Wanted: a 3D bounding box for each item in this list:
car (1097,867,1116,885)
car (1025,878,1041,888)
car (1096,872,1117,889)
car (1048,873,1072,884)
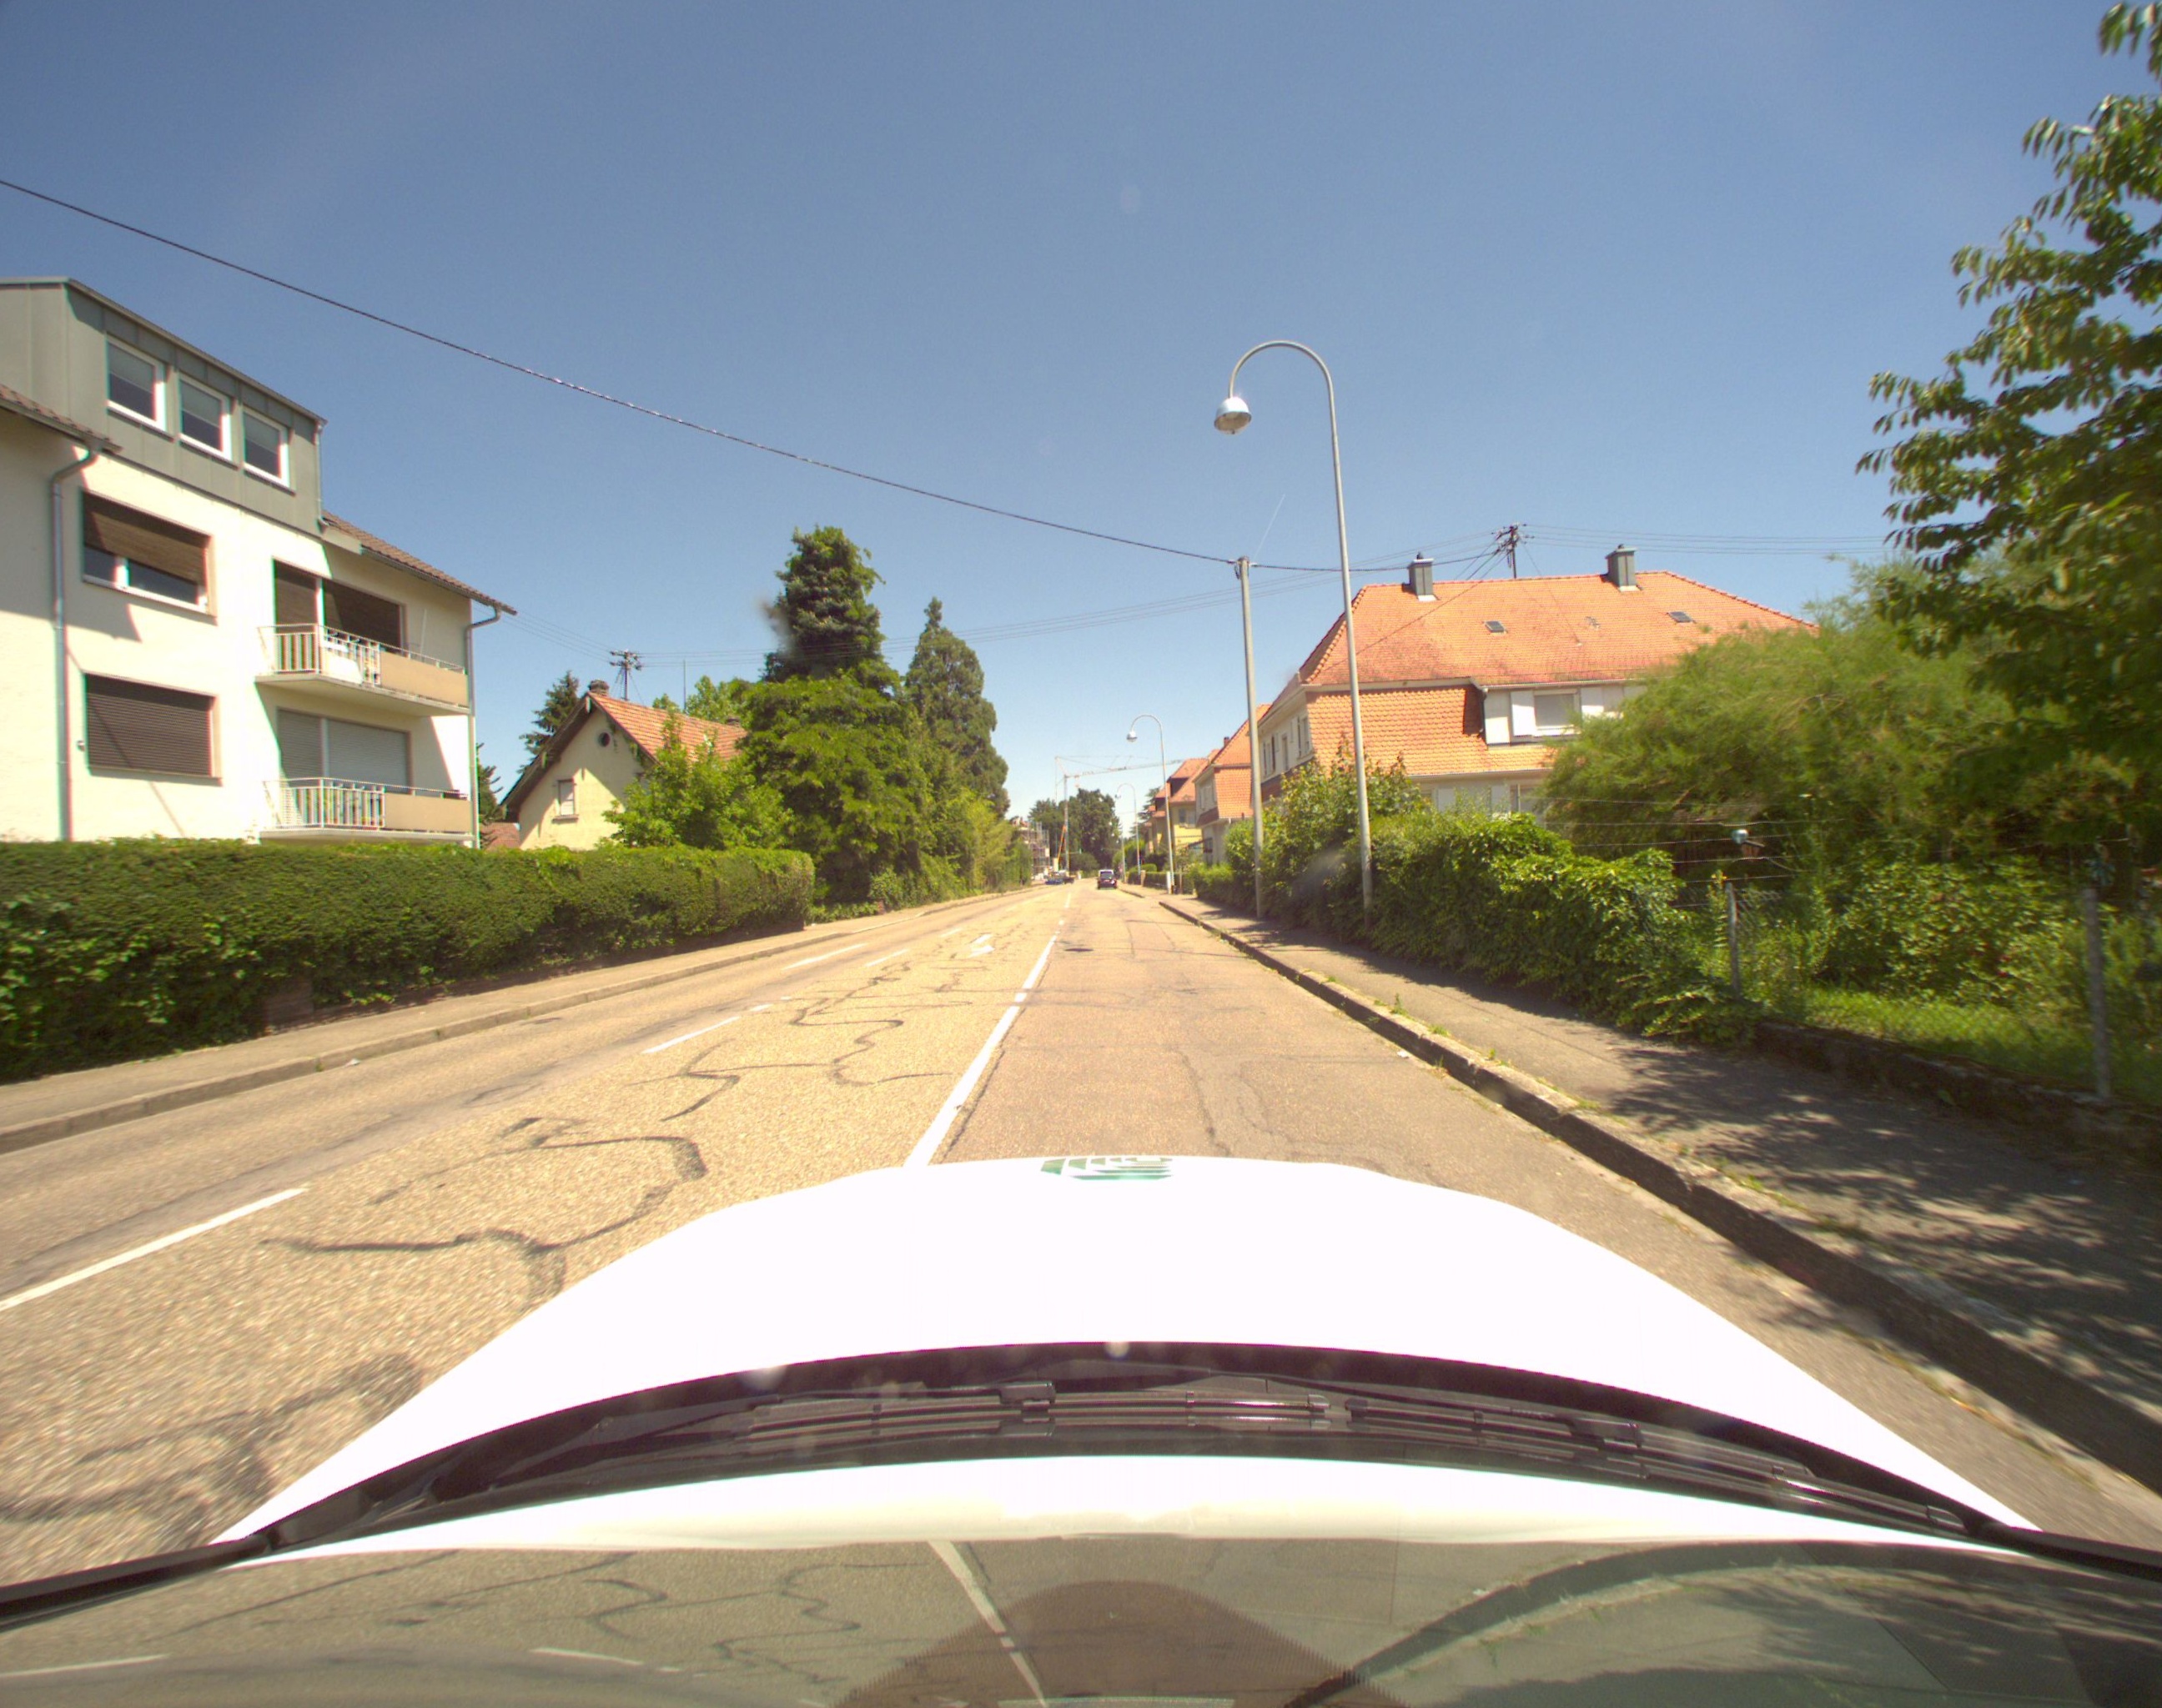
[{"bbox_3d":[2.879,2.523,92.409,1.987,1.901,4.822,-1,-2,1],"label":"car"},{"bbox_3d":[-7.394,4.518,125.866,1.651,1.389,3.541,-4,-2,7],"label":"car"},{"bbox_3d":[2.239,2.378,72.491,1.687,1.419,4.550,-3,-2,0],"label":"car"},{"bbox_3d":[-3.527,4.156,137.804,3.978,1.468,1.963,-3,0,-3],"label":"car"}]
